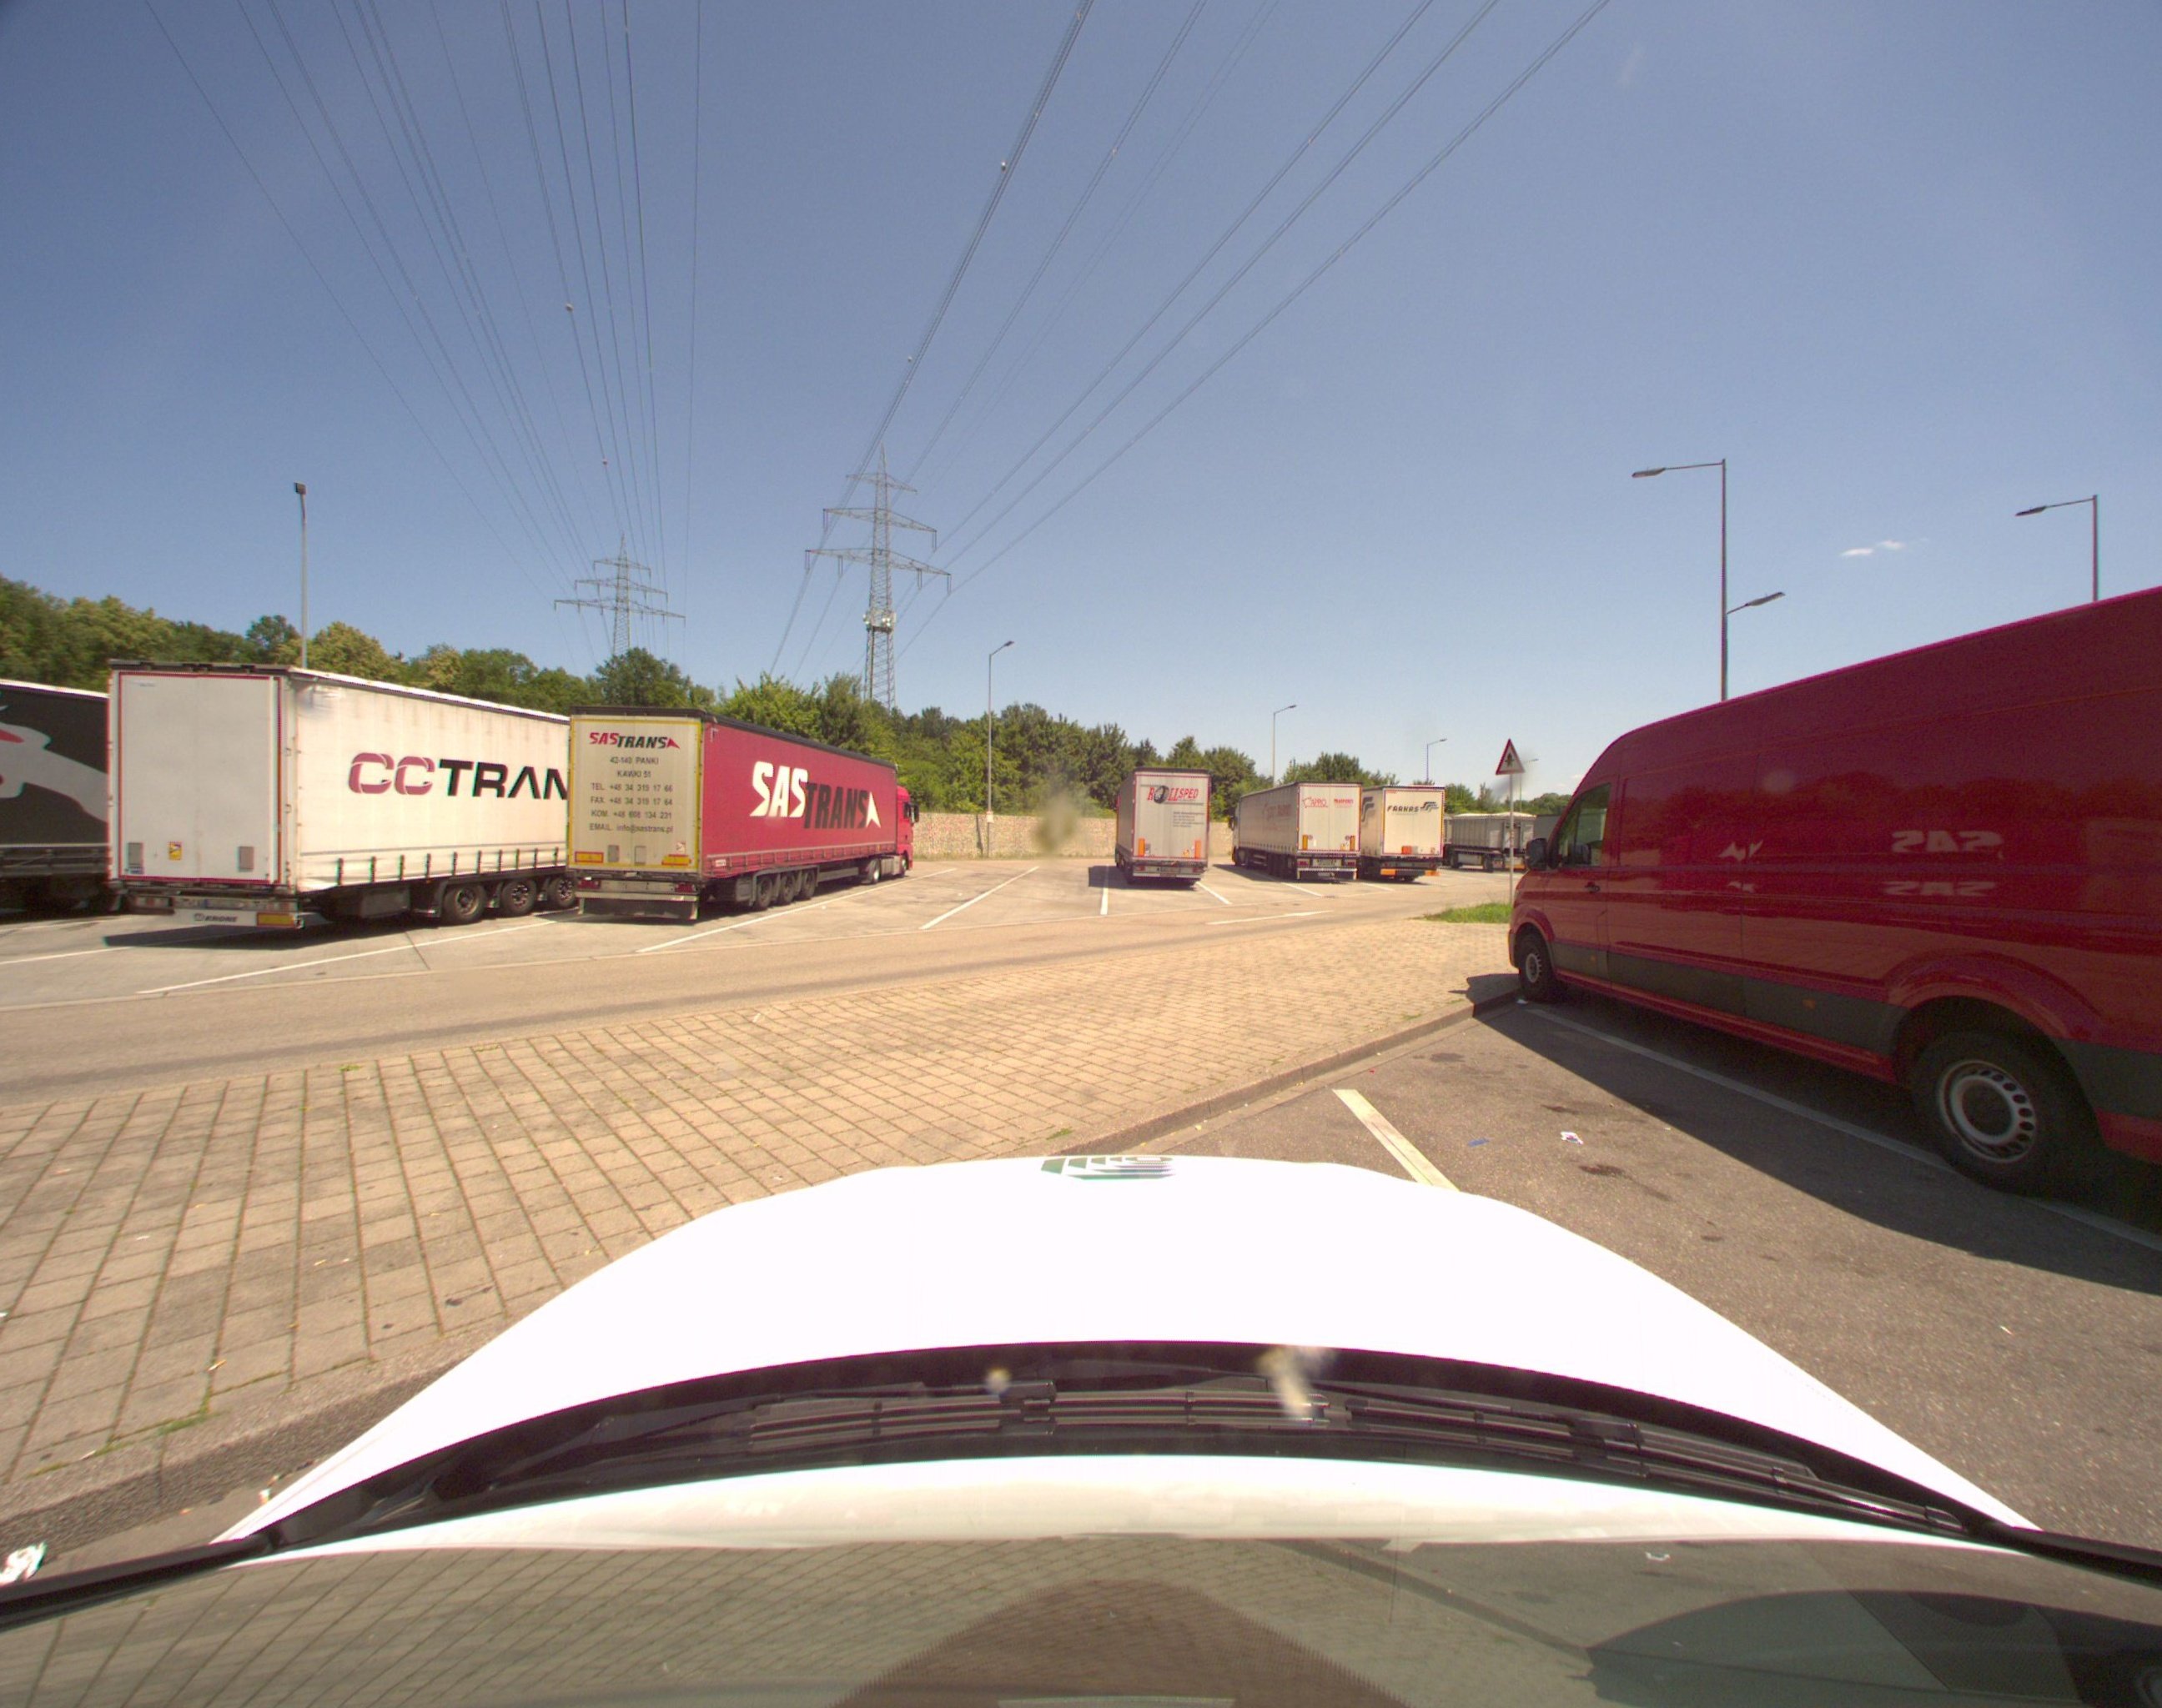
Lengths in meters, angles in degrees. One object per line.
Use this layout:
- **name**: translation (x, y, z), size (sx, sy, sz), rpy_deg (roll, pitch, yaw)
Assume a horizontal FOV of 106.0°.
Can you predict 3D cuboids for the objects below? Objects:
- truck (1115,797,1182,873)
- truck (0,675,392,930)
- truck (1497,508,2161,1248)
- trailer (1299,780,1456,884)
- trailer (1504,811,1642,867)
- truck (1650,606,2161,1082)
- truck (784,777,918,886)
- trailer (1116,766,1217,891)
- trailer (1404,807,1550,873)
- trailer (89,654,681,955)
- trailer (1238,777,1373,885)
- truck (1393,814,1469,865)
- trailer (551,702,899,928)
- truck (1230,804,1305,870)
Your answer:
- **truck**: translation (3.141, -0.937, 39.417), size (2.855, 3.362, 5.977), rpy_deg (1, 2, 2)
- **truck**: translation (-18.546, -0.934, 15.834), size (2.696, 4.070, 8.694), rpy_deg (1, 2, 2)
- **truck**: translation (5.147, 0.082, 5.458), size (2.001, 2.651, 6.466), rpy_deg (-1, 0, 6)
- **trailer**: translation (13.610, -1.093, 39.231), size (2.847, 4.109, 13.770), rpy_deg (1, 2, 2)
- **trailer**: translation (38.220, -1.296, 64.190), size (2.847, 3.904, 13.770), rpy_deg (1, 2, 2)
- **truck**: translation (8.006, -0.069, 6.892), size (2.406, 2.906, 6.466), rpy_deg (-1, 0, 6)
- **truck**: translation (-7.830, -0.791, 28.548), size (2.801, 3.362, 5.977), rpy_deg (1, 2, 2)
- **trailer**: translation (3.050, -1.046, 33.215), size (2.848, 3.971, 13.767), rpy_deg (1, 2, 1)
- **trailer**: translation (24.441, -0.993, 51.507), size (2.847, 3.599, 13.770), rpy_deg (1, 2, 2)
- **trailer**: translation (-12.157, -0.838, 16.427), size (2.696, 4.101, 10.395), rpy_deg (1, 2, 2)
- **trailer**: translation (9.982, -1.118, 38.306), size (2.847, 4.109, 13.770), rpy_deg (1, 2, 2)
- **truck**: translation (24.626, -1.081, 57.603), size (2.855, 3.362, 5.977), rpy_deg (1, 2, 2)
- **trailer**: translation (-8.043, -0.924, 21.731), size (2.811, 4.070, 13.770), rpy_deg (1, 2, 2)
- **truck**: translation (10.180, -0.976, 45.070), size (2.855, 3.362, 5.977), rpy_deg (1, 2, 2)
